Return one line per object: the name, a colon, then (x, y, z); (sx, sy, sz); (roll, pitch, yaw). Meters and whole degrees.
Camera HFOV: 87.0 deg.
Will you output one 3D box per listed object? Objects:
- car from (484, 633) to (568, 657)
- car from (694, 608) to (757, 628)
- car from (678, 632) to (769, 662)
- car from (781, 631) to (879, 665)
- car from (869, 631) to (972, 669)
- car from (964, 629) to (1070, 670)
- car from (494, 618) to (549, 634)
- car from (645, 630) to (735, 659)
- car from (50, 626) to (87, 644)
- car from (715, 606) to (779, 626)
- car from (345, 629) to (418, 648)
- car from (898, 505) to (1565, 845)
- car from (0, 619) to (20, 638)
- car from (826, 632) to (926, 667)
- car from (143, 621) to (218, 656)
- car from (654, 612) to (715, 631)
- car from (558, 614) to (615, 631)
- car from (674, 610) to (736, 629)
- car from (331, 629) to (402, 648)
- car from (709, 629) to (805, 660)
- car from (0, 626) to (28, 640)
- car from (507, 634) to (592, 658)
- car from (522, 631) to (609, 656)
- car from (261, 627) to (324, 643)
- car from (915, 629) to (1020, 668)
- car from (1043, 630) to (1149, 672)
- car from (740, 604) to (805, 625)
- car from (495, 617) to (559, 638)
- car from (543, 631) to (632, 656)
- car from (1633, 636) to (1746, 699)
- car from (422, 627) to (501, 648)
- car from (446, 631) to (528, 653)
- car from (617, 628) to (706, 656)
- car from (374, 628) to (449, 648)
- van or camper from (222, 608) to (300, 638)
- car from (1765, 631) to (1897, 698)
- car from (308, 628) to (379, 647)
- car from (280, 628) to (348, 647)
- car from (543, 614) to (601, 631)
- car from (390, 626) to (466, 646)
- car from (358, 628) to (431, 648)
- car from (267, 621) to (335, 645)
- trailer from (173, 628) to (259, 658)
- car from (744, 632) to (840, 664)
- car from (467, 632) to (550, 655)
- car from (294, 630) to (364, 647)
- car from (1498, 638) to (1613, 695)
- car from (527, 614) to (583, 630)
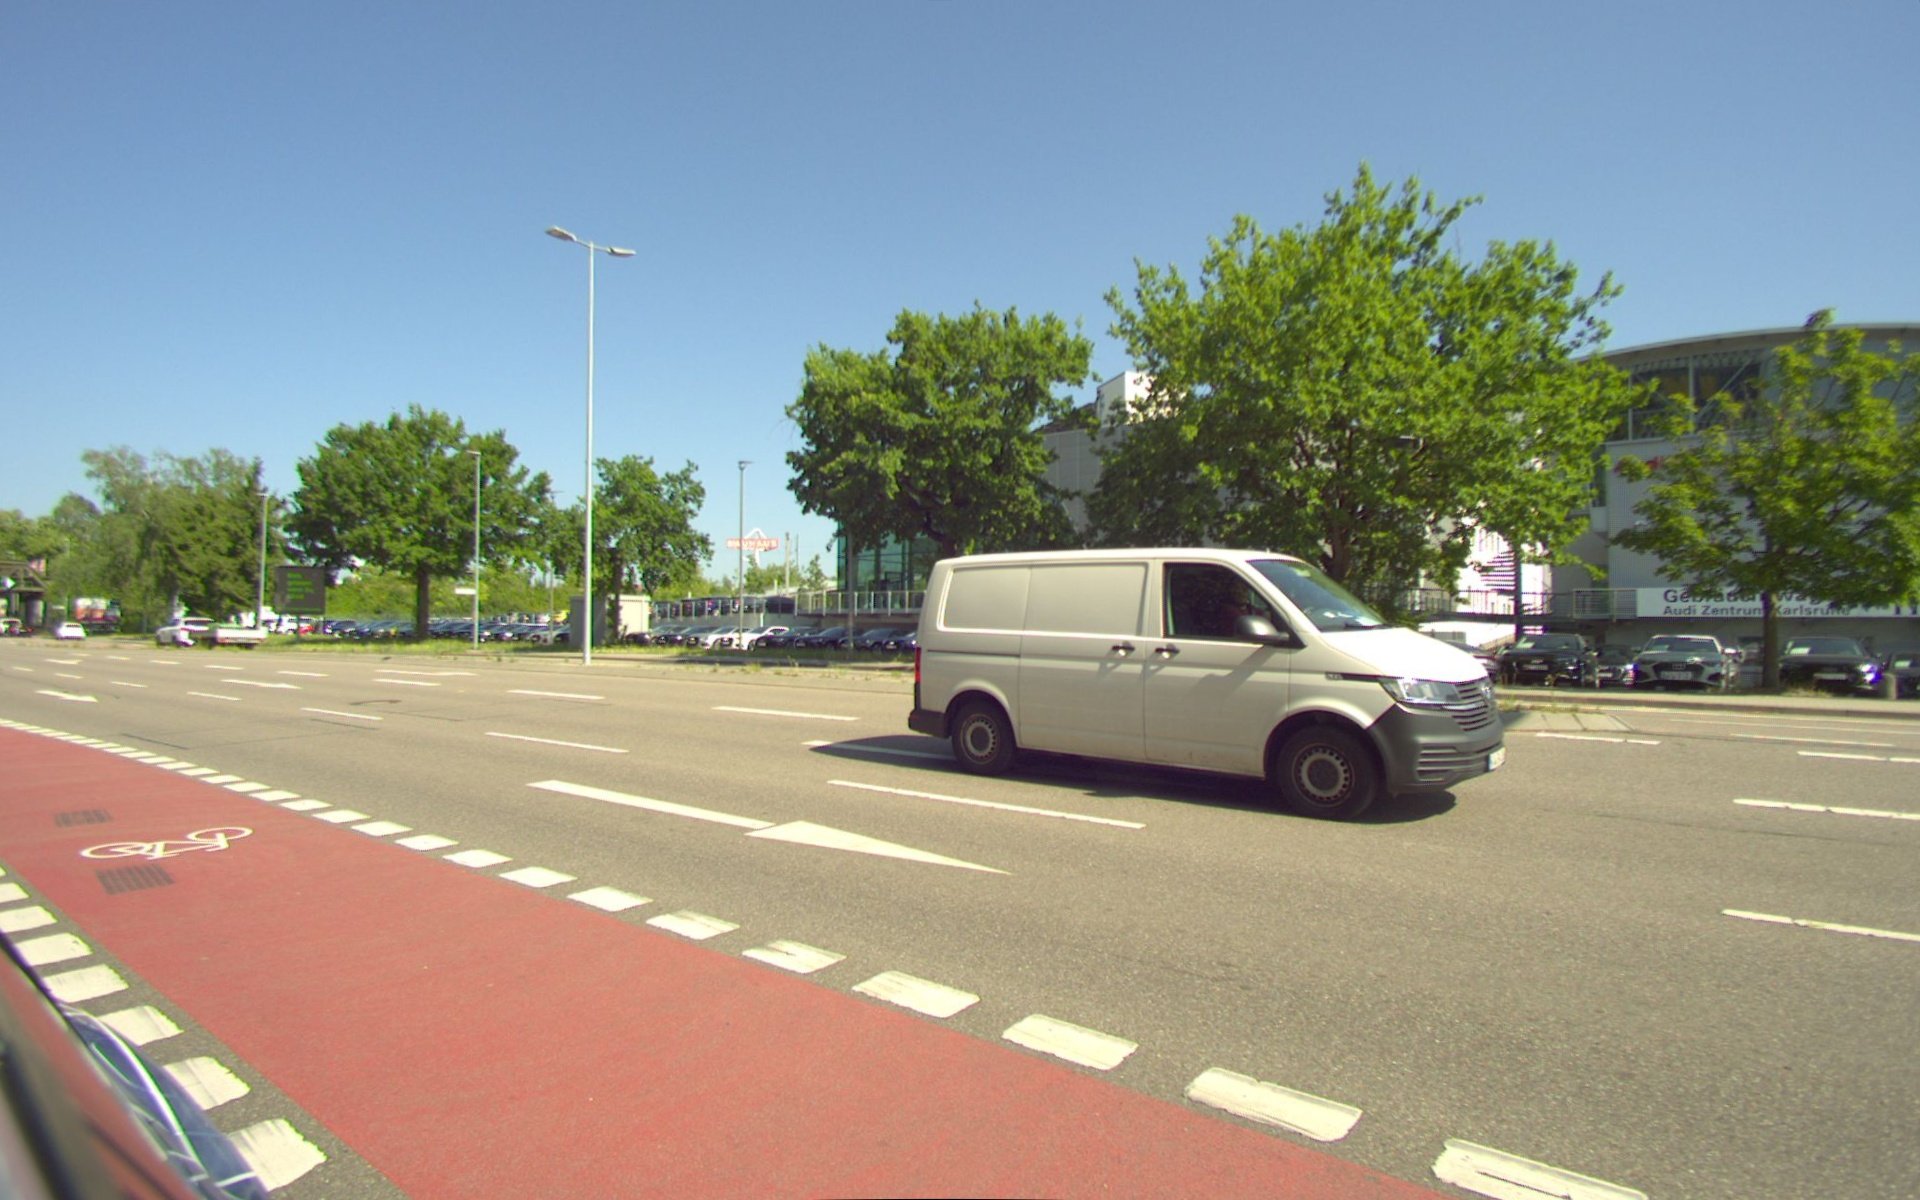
car: (-26.061, 2.707, 60.812); (1.953, 1.361, 4.221); (-2, -3, 41)
car: (-17.304, 1.367, 74.873); (1.952, 1.361, 4.222); (-2, -3, 40)
car: (-11.262, 2.234, 48.411); (1.864, 1.386, 3.947); (-1, -3, 39)
car: (-5.525, 2.054, 43.415); (1.922, 1.386, 3.947); (-1, -3, 39)
car: (-1.507, 1.956, 39.855); (1.922, 1.386, 3.947); (-1, -3, 39)
car: (2.139, 1.801, 37.124); (1.922, 1.386, 3.947); (-1, -3, 39)
car: (-39.968, 2.372, 92.324); (1.952, 1.361, 4.222); (-2, -3, 40)
car: (-13.315, 2.211, 50.033); (1.864, 1.386, 3.947); (-1, -3, 39)
car: (-76.026, 2.973, 86.280); (3.544, 1.475, 1.638); (-1, -4, 37)
car: (-15.394, 1.198, 73.147); (1.952, 1.361, 4.222); (-2, -3, 40)
car: (-42.615, 2.849, 74.610); (1.953, 1.361, 4.221); (-2, -3, 41)
car: (1.935, 0.529, 8.315); (4.970, 2.009, 1.863); (-2, -3, 40)
car: (-103.631, 3.119, 109.841); (5.348, 2.029, 1.971); (-2, -4, 44)
car: (-3.398, 2.021, 41.563); (1.922, 1.386, 3.947); (-1, -3, 39)
car: (-42.232, 2.079, 54.810); (4.929, 1.847, 1.975); (-1, -3, 37)
car: (-21.249, 1.670, 78.191); (1.952, 1.361, 4.222); (-2, -3, 40)
car: (-31.853, 1.912, 86.378); (1.952, 1.361, 4.222); (-2, -3, 40)
car: (-19.214, 1.514, 76.402); (1.952, 1.361, 4.222); (-2, -3, 40)
car: (-44.630, 2.891, 76.209); (1.953, 1.361, 4.221); (-2, -3, 41)
car: (-9.368, 2.061, 46.897); (2.023, 1.386, 4.001); (-1, -3, 39)
car: (-97.647, 3.420, 104.124); (4.677, 1.424, 1.973); (-1, -3, 40)
car: (-24.143, 2.671, 59.587); (1.953, 1.361, 4.221); (-2, -3, 41)
car: (-22.635, 2.503, 58.124); (1.953, 1.361, 4.221); (-2, -3, 41)
car: (-55.396, 2.937, 84.018); (1.743, 1.303, 4.044); (-2, -3, 41)
car: (0.339, 1.835, 38.339); (1.922, 1.386, 3.947); (-1, -3, 39)
car: (4.820, 1.761, 35.409); (1.922, 1.386, 3.947); (-1, -3, 39)
car: (-13.213, 1.030, 71.365); (1.952, 1.361, 4.222); (-2, -3, 40)
car: (-34.612, 2.237, 80.986); (1.953, 1.655, 4.221); (-2, -3, 41)
car: (-20.722, 2.413, 56.443); (1.953, 1.361, 4.221); (-2, -3, 41)
car: (17.346, 1.547, 23.999); (1.997, 1.353, 4.110); (-1, -3, 38)
car: (-32.704, 2.472, 66.495); (1.953, 1.361, 4.221); (-2, -3, 41)
car: (-29.593, 2.621, 63.404); (1.953, 1.361, 4.221); (-2, -3, 41)
car: (-15.193, 2.131, 51.692); (1.998, 1.386, 3.947); (-1, -3, 39)
car: (-38.615, 2.687, 71.347); (1.953, 1.361, 4.221); (-2, -3, 41)
van or camper: (-62.232, 1.994, 90.162); (1.997, 2.489, 5.329); (-3, -2, 37)
car: (19.177, 1.384, 22.448); (1.997, 1.353, 3.948); (-1, -3, 38)
car: (-46.930, 2.894, 77.131); (1.953, 1.392, 4.221); (-2, -3, 41)
car: (-51.653, 2.990, 80.998); (1.953, 1.515, 4.221); (-2, -3, 41)
car: (-33.693, 1.967, 87.941); (1.952, 1.361, 4.222); (-2, -3, 40)
car: (-36.641, 2.498, 69.779); (1.953, 1.361, 4.221); (-2, -3, 41)
car: (-40.699, 2.749, 72.907); (1.953, 1.361, 4.221); (-2, -3, 41)
car: (-53.643, 2.735, 82.454); (1.953, 1.899, 4.221); (-2, -3, 41)
trailer: (-37.936, 2.176, 51.531); (5.763, 1.464, 1.975); (-1, -3, 38)
car: (-7.441, 2.130, 45.140); (1.922, 1.386, 3.947); (-1, -3, 39)
car: (-27.719, 2.668, 62.173); (1.953, 1.361, 4.221); (-2, -3, 41)
car: (-49.333, 3.019, 79.161); (1.953, 1.338, 4.221); (-2, -3, 41)
car: (15.190, 1.635, 25.733); (1.997, 1.321, 3.948); (-1, -3, 38)
car: (-35.840, 1.951, 89.632); (1.952, 1.361, 4.222); (-2, -3, 40)
